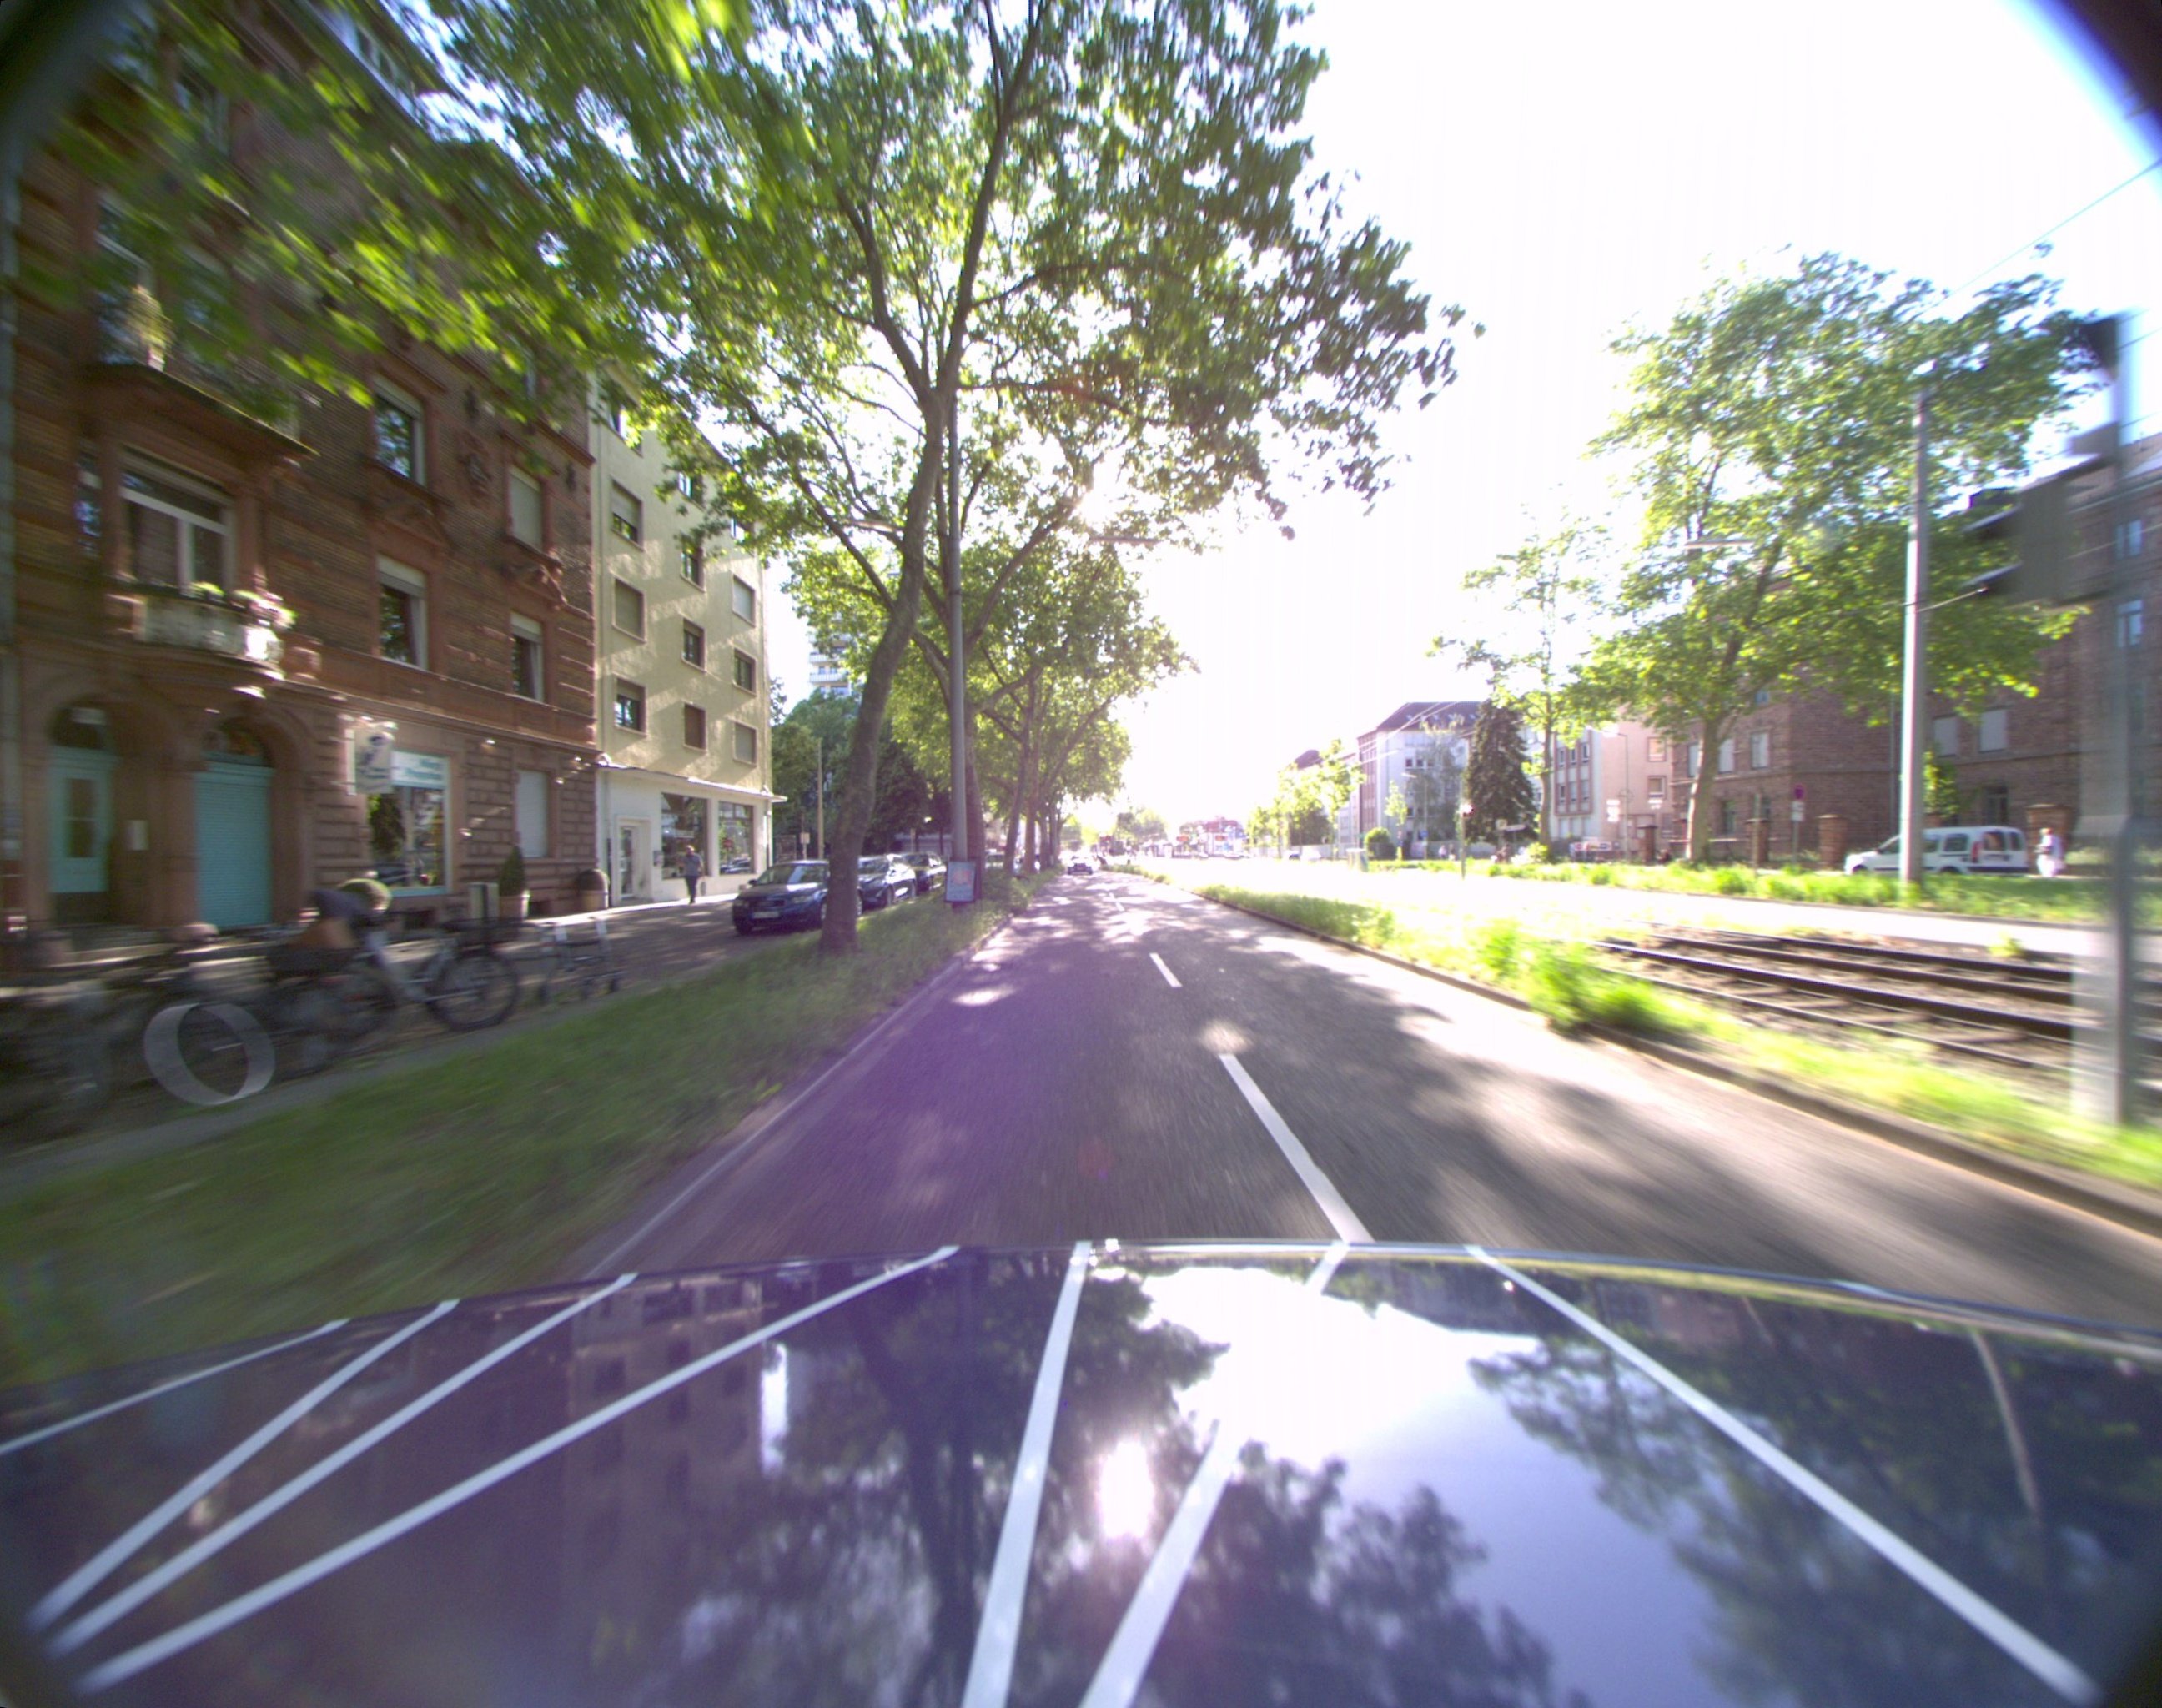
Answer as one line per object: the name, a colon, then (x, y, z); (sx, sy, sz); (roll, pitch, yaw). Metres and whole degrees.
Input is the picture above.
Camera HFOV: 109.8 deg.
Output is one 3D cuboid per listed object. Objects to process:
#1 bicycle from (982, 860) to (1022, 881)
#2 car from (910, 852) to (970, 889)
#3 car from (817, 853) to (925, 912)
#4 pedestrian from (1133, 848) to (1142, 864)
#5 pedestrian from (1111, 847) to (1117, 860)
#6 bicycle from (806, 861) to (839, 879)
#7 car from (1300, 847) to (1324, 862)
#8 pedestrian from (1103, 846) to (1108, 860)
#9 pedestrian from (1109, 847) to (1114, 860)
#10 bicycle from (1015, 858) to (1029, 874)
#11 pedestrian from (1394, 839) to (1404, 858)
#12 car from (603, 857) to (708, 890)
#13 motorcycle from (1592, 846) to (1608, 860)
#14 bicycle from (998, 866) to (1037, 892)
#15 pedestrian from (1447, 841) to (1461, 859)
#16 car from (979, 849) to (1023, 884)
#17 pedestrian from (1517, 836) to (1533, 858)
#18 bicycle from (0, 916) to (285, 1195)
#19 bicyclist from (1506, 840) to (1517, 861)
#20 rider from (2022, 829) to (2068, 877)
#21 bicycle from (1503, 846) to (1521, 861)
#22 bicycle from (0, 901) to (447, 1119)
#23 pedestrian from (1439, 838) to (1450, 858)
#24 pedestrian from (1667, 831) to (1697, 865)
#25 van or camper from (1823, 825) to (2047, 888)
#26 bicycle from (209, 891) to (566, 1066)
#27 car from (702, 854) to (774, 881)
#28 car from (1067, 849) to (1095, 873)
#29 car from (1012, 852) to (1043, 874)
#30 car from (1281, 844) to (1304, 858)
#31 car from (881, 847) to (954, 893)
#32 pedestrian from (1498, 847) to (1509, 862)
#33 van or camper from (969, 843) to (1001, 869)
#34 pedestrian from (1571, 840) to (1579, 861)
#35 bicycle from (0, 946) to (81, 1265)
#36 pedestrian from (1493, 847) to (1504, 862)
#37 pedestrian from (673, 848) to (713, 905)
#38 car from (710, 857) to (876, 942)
bicycle: (-3.659, 0.754, 35.372); (1.767, 0.922, 0.652); (-2, 1, -41)
car: (-5.931, 0.673, 32.479); (1.719, 1.443, 4.261); (-1, 0, 0)
car: (-5.826, 0.748, 21.700); (1.699, 1.498, 4.582); (-1, 0, 1)
pedestrian: (6.375, 0.215, 86.128); (0.955, 1.726, 0.730); (-1, 1, 3)
pedestrian: (4.195, -0.039, 96.004); (0.714, 1.671, 0.772); (-2, 1, -1)
bicycle: (-16.094, 0.997, 47.253); (2.140, 1.097, 0.509); (-1, 1, 25)
car: (25.882, 0.081, 85.113); (1.769, 1.613, 4.477); (-1, 0, 6)
pedestrian: (3.467, -0.114, 107.124); (0.669, 2.002, 0.716); (-2, 1, 1)
pedestrian: (4.228, -0.022, 106.070); (0.683, 1.773, 0.754); (-2, 1, 1)
bicycle: (-3.553, 0.727, 45.677); (0.640, 0.920, 2.164); (-1, 1, 0)
pedestrian: (33.115, -0.549, 79.186); (0.664, 2.002, 0.860); (-1, 1, 0)
car: (-21.816, 1.012, 39.023); (4.592, 1.571, 2.002); (-1, 0, 15)
motorcycle: (35.495, -0.093, 51.979); (0.335, 0.941, 1.044); (-1, 1, -3)
bicycle: (-2.718, 1.059, 32.498); (1.596, 1.052, 0.404); (-1, 1, 7)
pedestrian: (34.422, -0.373, 70.118); (0.683, 1.686, 0.823); (-2, 1, -19)
car: (-4.040, 0.599, 39.014); (1.908, 1.626, 4.822); (-1, 0, -2)
pedestrian: (35.112, -0.541, 60.082); (0.683, 1.686, 0.882); (-2, 1, -28)
bicycle: (-6.073, 1.074, 4.149); (2.171, 1.287, 0.982); (-2, 1, -10)
bicyclist: (31.270, -0.254, 55.226); (0.455, 1.490, 0.502); (-1, 1, -9)
rider: (33.484, -0.032, 26.407); (0.730, 1.635, 0.686); (-1, 1, 1)
bicycle: (31.282, -0.034, 55.150); (0.463, 1.062, 1.175); (-1, 0, -9)
bicycle: (-6.062, 1.049, 5.436); (2.169, 1.287, 0.983); (-2, 1, 1)
pedestrian: (33.362, -0.558, 69.697); (0.694, 1.826, 0.573); (-1, 1, -1)
pedestrian: (34.048, -0.344, 43.051); (0.903, 1.888, 0.942); (-1, 1, 1)
van or camper: (26.587, 0.046, 23.943); (1.999, 1.777, 4.431); (0, 1, -2)
bicycle: (-5.899, 1.027, 6.585); (2.169, 1.287, 0.983); (-2, 1, 2)
car: (-22.655, 0.844, 50.346); (1.996, 1.618, 4.394); (-1, 1, 15)
car: (0.066, 0.505, 59.042); (1.979, 1.660, 4.620); (-2, 1, 2)
car: (-3.626, 0.590, 52.432); (1.758, 1.390, 5.025); (-1, 1, 0)
car: (26.691, -0.374, 95.933); (1.998, 1.697, 4.150); (-1, 0, 4)
car: (-5.838, 0.568, 27.626); (1.699, 1.521, 4.261); (-1, 0, 0)
pedestrian: (31.187, 0.054, 56.114); (0.445, 1.093, 0.587); (-1, 1, -4)
van or camper: (-8.986, 0.177, 71.638); (2.297, 2.273, 5.821); (-2, 1, 0)
pedestrian: (39.952, -0.313, 61.404); (0.376, 1.686, 0.449); (-1, 1, 6)
bicycle: (-5.728, 1.101, 2.772); (2.556, 1.287, 0.974); (-2, 1, -6)
pedestrian: (31.150, 0.065, 56.698); (0.587, 1.093, 0.478); (-1, 1, -1)
pedestrian: (-11.804, 0.667, 23.123); (0.797, 1.695, 0.724); (-1, 1, 1)
car: (-5.944, 0.859, 16.302); (1.838, 1.399, 4.192); (-4, 1, 1)
